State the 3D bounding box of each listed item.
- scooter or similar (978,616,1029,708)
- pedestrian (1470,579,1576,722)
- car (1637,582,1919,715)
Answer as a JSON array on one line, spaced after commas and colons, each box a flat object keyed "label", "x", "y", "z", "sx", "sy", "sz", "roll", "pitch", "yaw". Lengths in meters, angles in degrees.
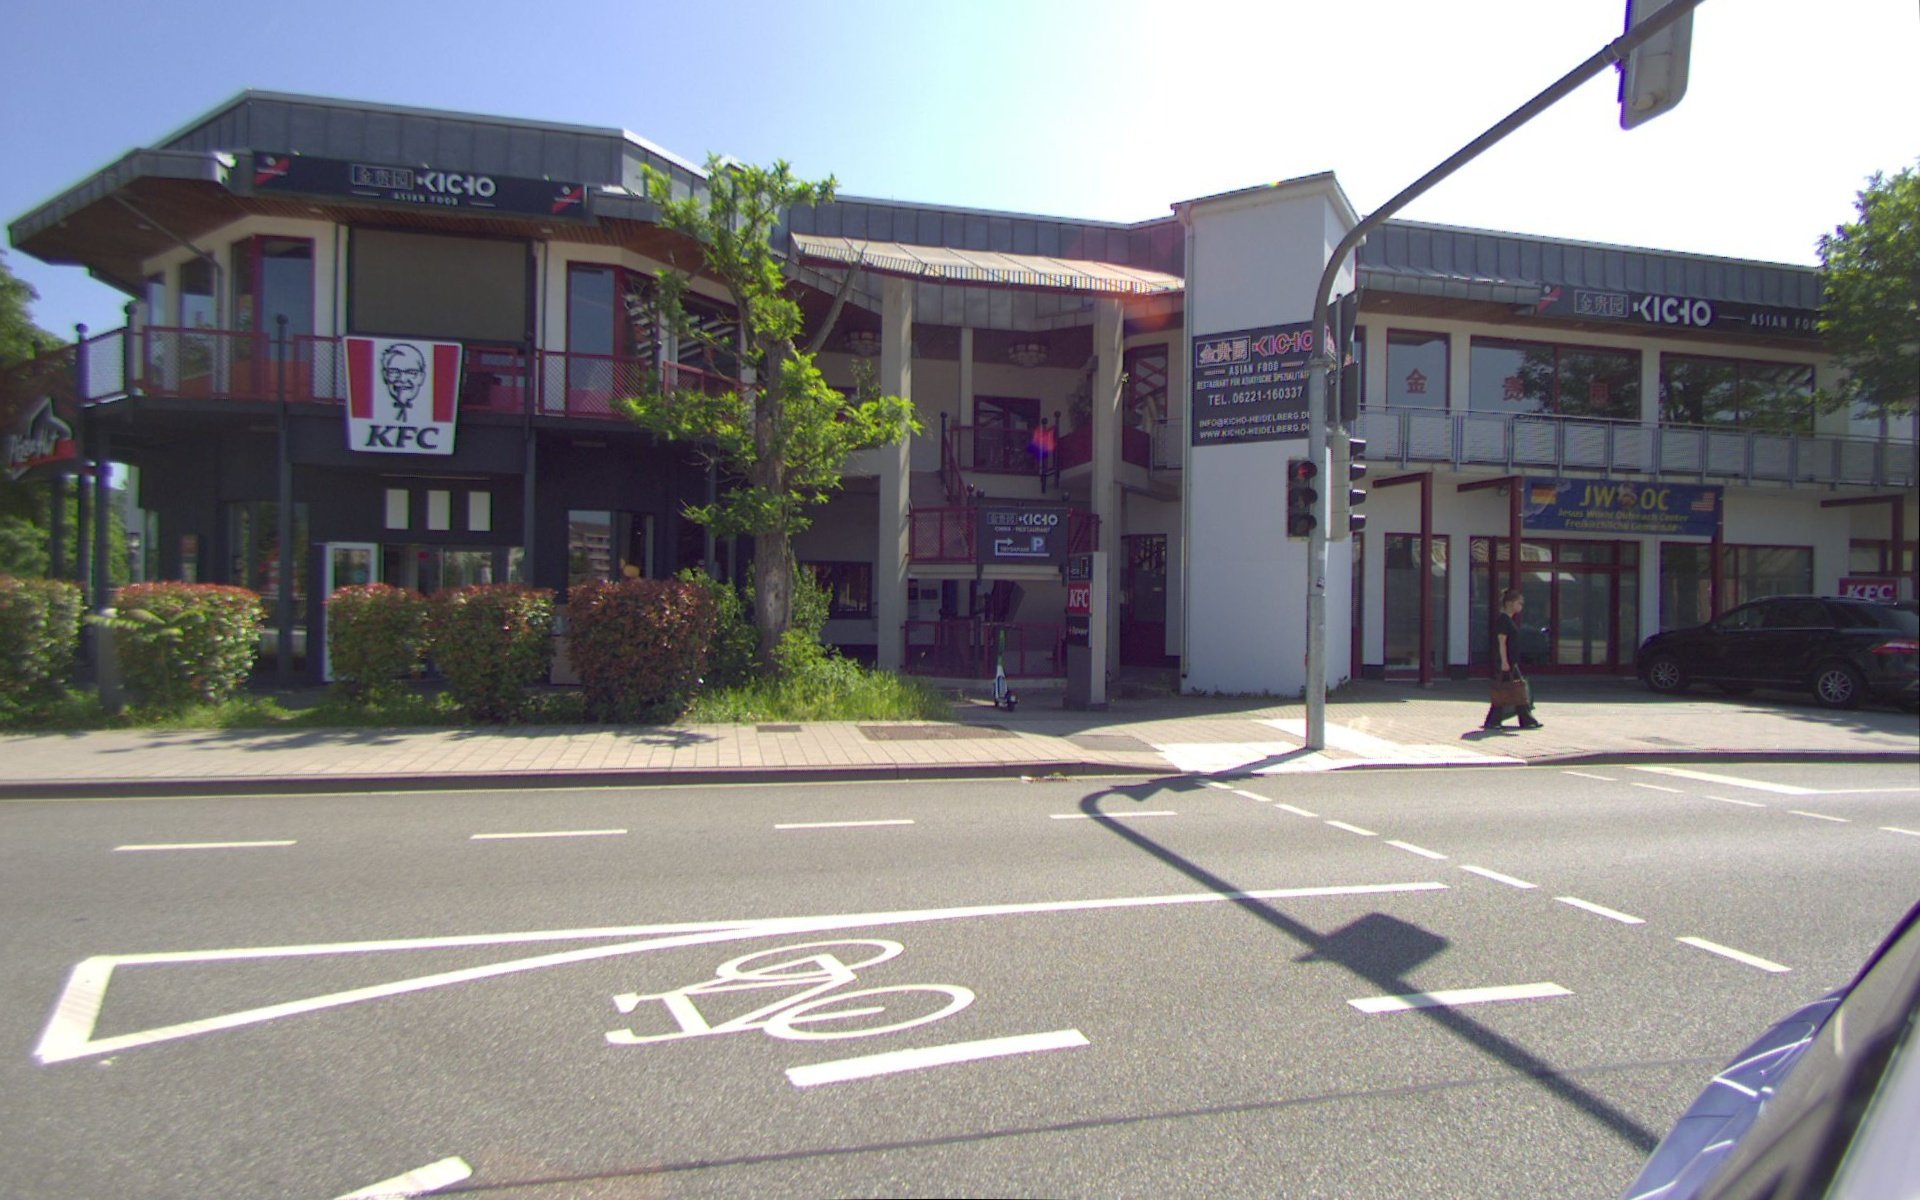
[{"label": "scooter or similar", "x": 0.573, "y": 0.804, "z": 13.712, "sx": 0.491, "sy": 1.137, "sz": 1.506, "roll": 1, "pitch": 0, "yaw": -5}, {"label": "pedestrian", "x": 6.793, "y": 0.589, "z": 12.242, "sx": 0.824, "sy": 1.666, "sz": 0.735, "roll": 1, "pitch": 0, "yaw": -17}, {"label": "car", "x": 14.001, "y": 0.681, "z": 16.746, "sx": 1.770, "sy": 1.879, "sz": 4.668, "roll": 1, "pitch": 0, "yaw": -13}]
